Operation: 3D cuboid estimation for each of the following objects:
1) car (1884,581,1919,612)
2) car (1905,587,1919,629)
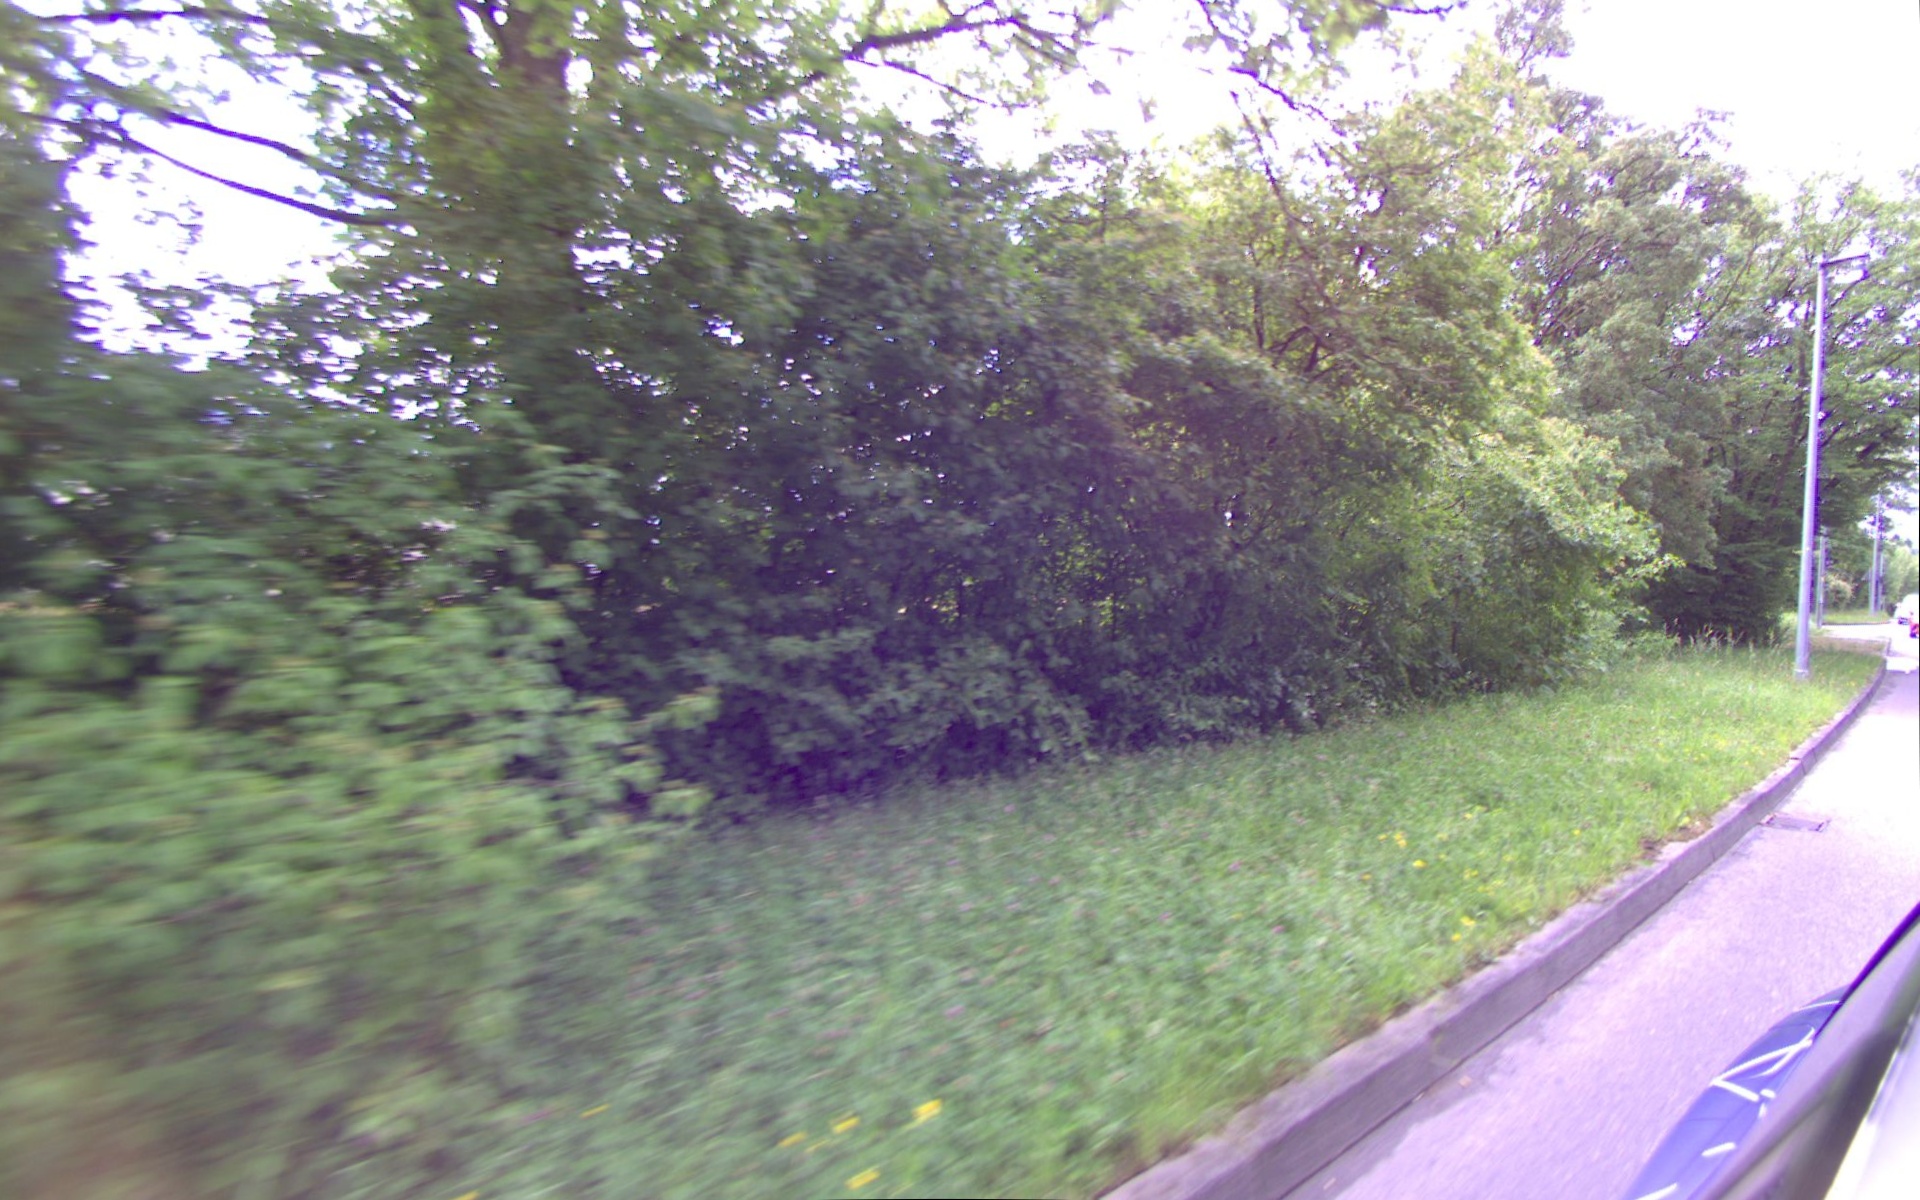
[{"bbox_3d":[52.303,-0.204,55.837,1.915,1.616,3.837,3,2,43],"label":"car"},{"bbox_3d":[38.148,0.347,39.035,1.989,1.593,3.946,3,2,37],"label":"car"}]
